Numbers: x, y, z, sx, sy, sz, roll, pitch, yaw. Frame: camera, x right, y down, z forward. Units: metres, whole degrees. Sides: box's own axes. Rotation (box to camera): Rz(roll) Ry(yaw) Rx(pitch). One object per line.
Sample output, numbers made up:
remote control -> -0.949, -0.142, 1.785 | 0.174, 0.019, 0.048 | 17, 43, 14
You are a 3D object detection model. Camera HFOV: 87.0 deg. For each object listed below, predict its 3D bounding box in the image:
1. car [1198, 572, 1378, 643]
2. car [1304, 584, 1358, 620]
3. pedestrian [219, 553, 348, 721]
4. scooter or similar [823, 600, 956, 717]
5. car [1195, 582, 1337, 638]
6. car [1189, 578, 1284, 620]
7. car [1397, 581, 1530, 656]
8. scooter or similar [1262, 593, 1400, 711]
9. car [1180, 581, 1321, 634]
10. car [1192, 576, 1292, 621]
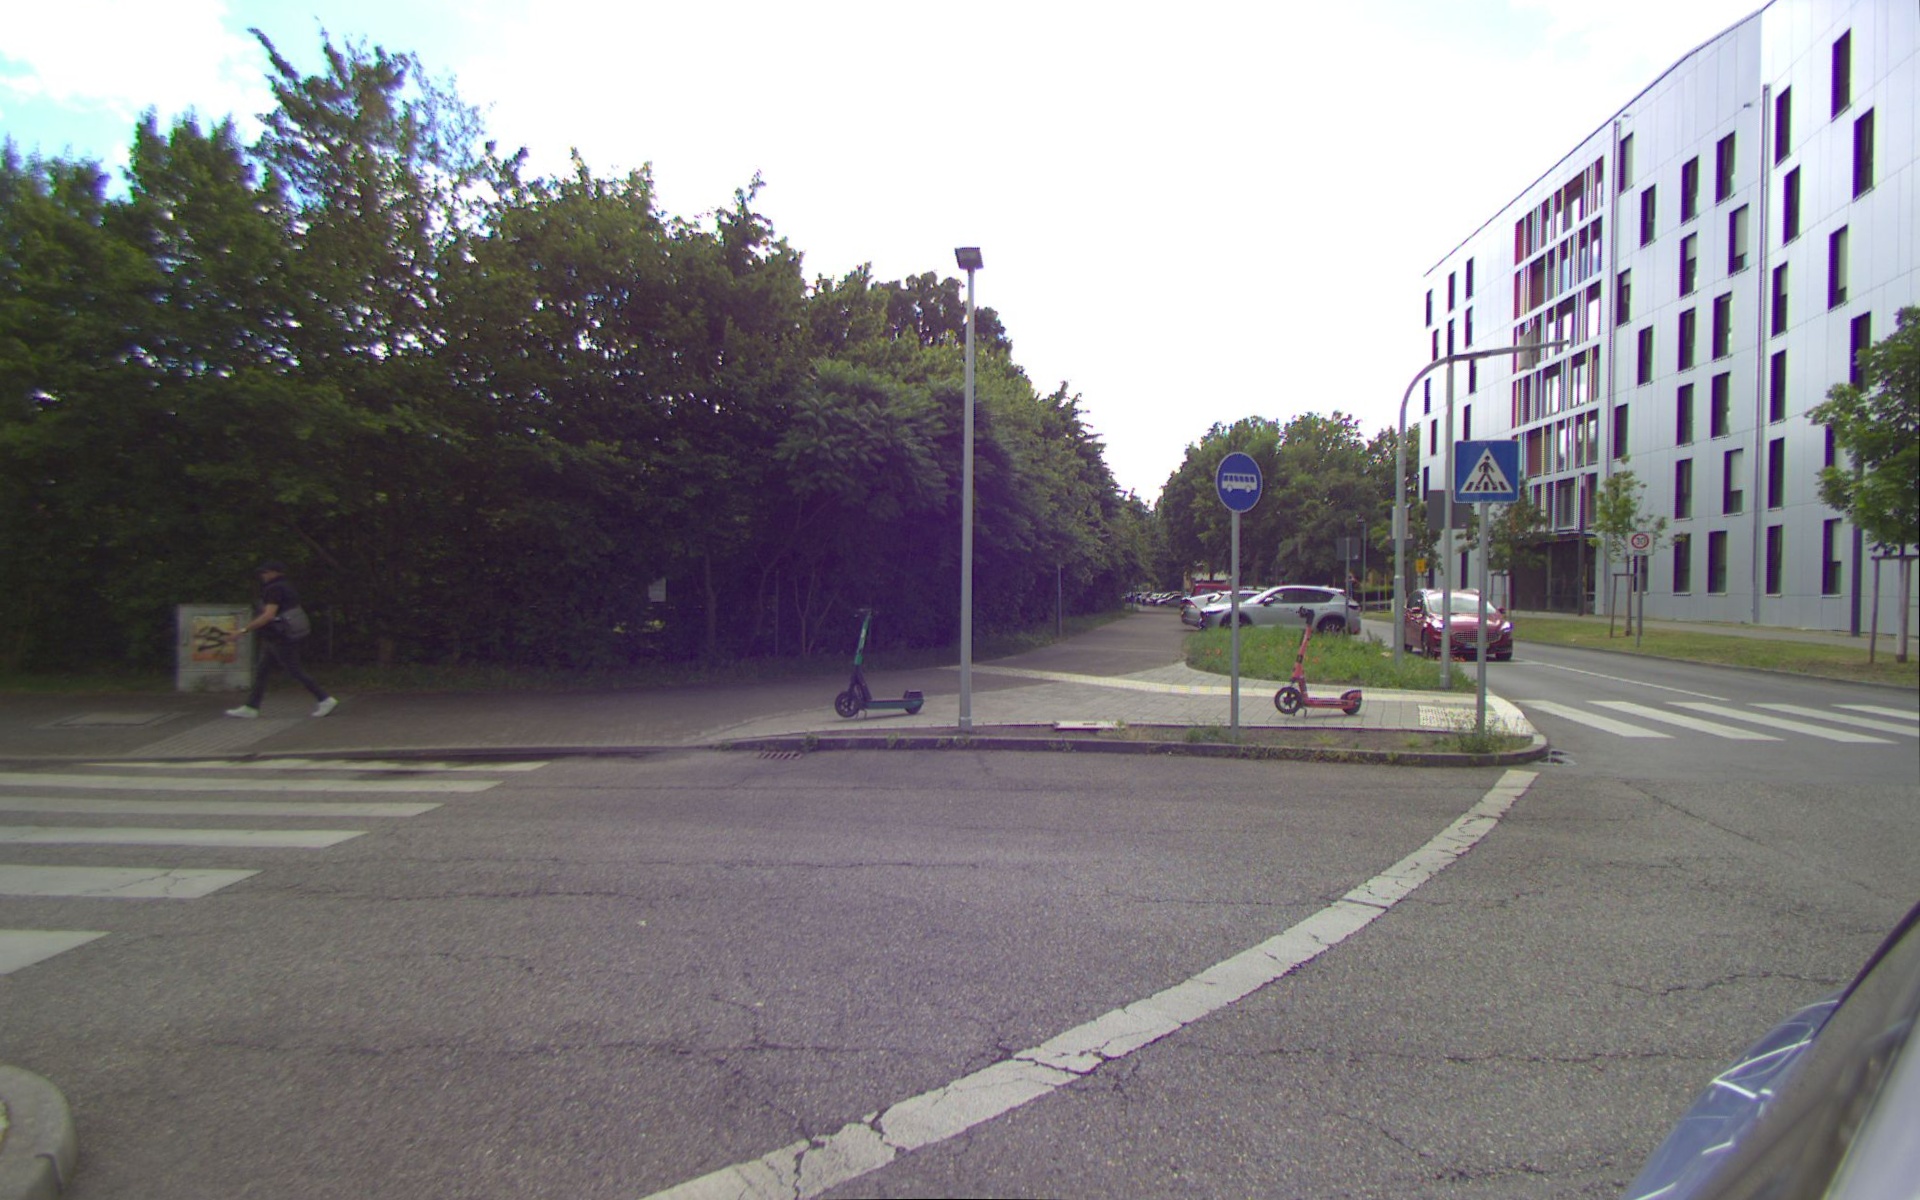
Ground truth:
car -> 9.368, 0.182, 29.289 | 4.588, 1.774, 2.064 | 3, 1, 10
car -> 17.953, 0.081, 49.104 | 1.790, 1.638, 3.987 | 1, 1, 11
pedestrian -> -7.704, 0.399, 11.573 | 0.964, 1.845, 0.859 | 0, 0, -12
scooter or similar -> -0.833, 0.661, 12.152 | 1.466, 1.290, 0.622 | -1, 1, -33
car -> 9.605, 0.290, 32.055 | 4.103, 1.606, 1.790 | 1, 0, 12
car -> 14.098, -0.063, 51.907 | 4.494, 1.923, 1.878 | 3, 1, 12
car -> 12.132, 0.380, 24.700 | 1.905, 1.652, 4.227 | -1, 1, 13
scooter or similar -> 4.370, 0.588, 11.935 | 1.493, 1.329, 0.573 | 0, 0, -18
car -> 9.788, 0.228, 34.446 | 4.422, 1.582, 1.905 | 2, 1, 12
car -> 12.935, -0.085, 46.656 | 4.227, 1.916, 1.831 | 2, 0, 12
